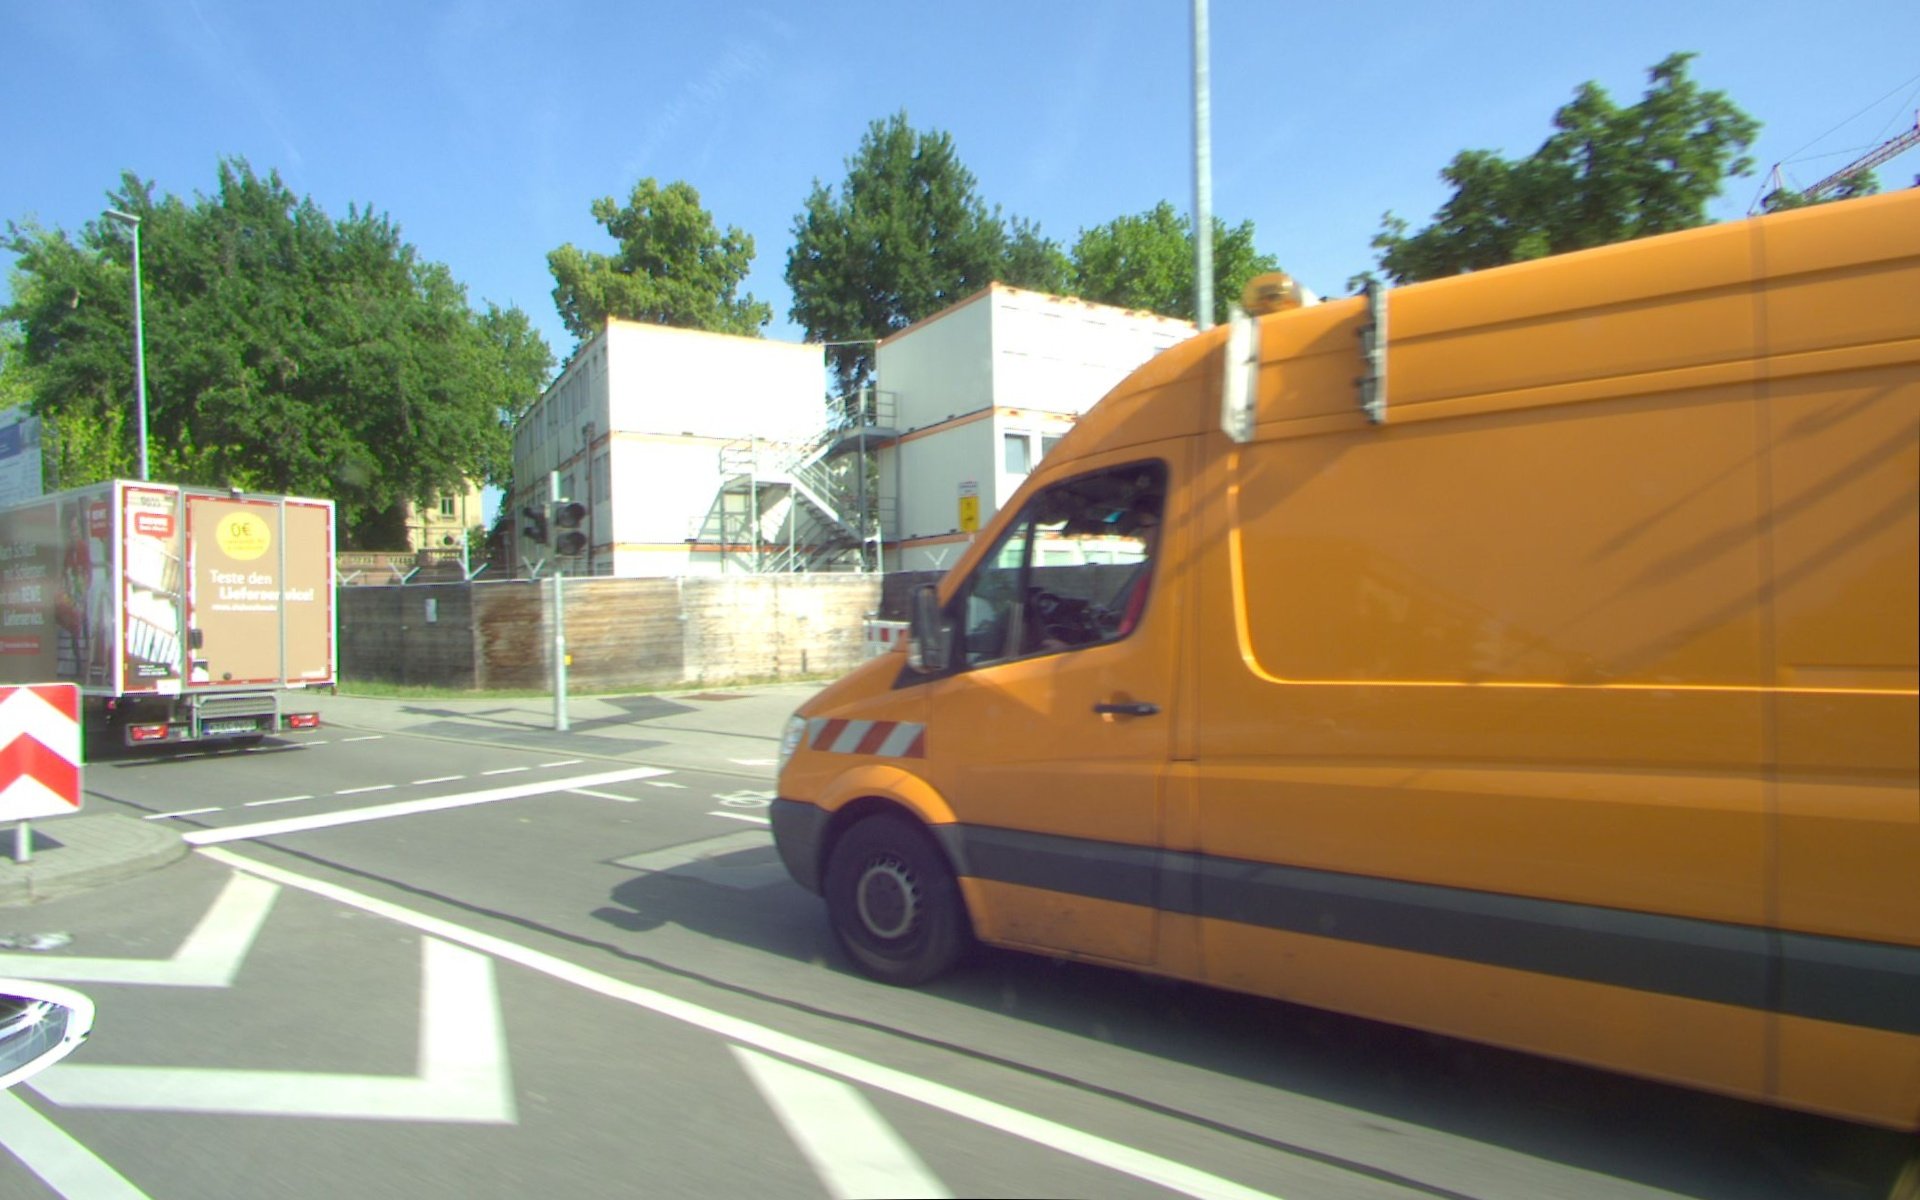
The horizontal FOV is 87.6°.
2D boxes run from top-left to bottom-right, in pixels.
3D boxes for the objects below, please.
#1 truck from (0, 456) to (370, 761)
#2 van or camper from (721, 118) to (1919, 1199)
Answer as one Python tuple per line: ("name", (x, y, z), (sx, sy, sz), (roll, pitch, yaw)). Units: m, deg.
("truck", (-11.206, 0.212, 13.258), (7.706, 3.099, 2.499), (-2, -2, 31))
("van or camper", (1.911, 0.196, 3.621), (5.981, 2.504, 1.980), (-1, 0, 36))
